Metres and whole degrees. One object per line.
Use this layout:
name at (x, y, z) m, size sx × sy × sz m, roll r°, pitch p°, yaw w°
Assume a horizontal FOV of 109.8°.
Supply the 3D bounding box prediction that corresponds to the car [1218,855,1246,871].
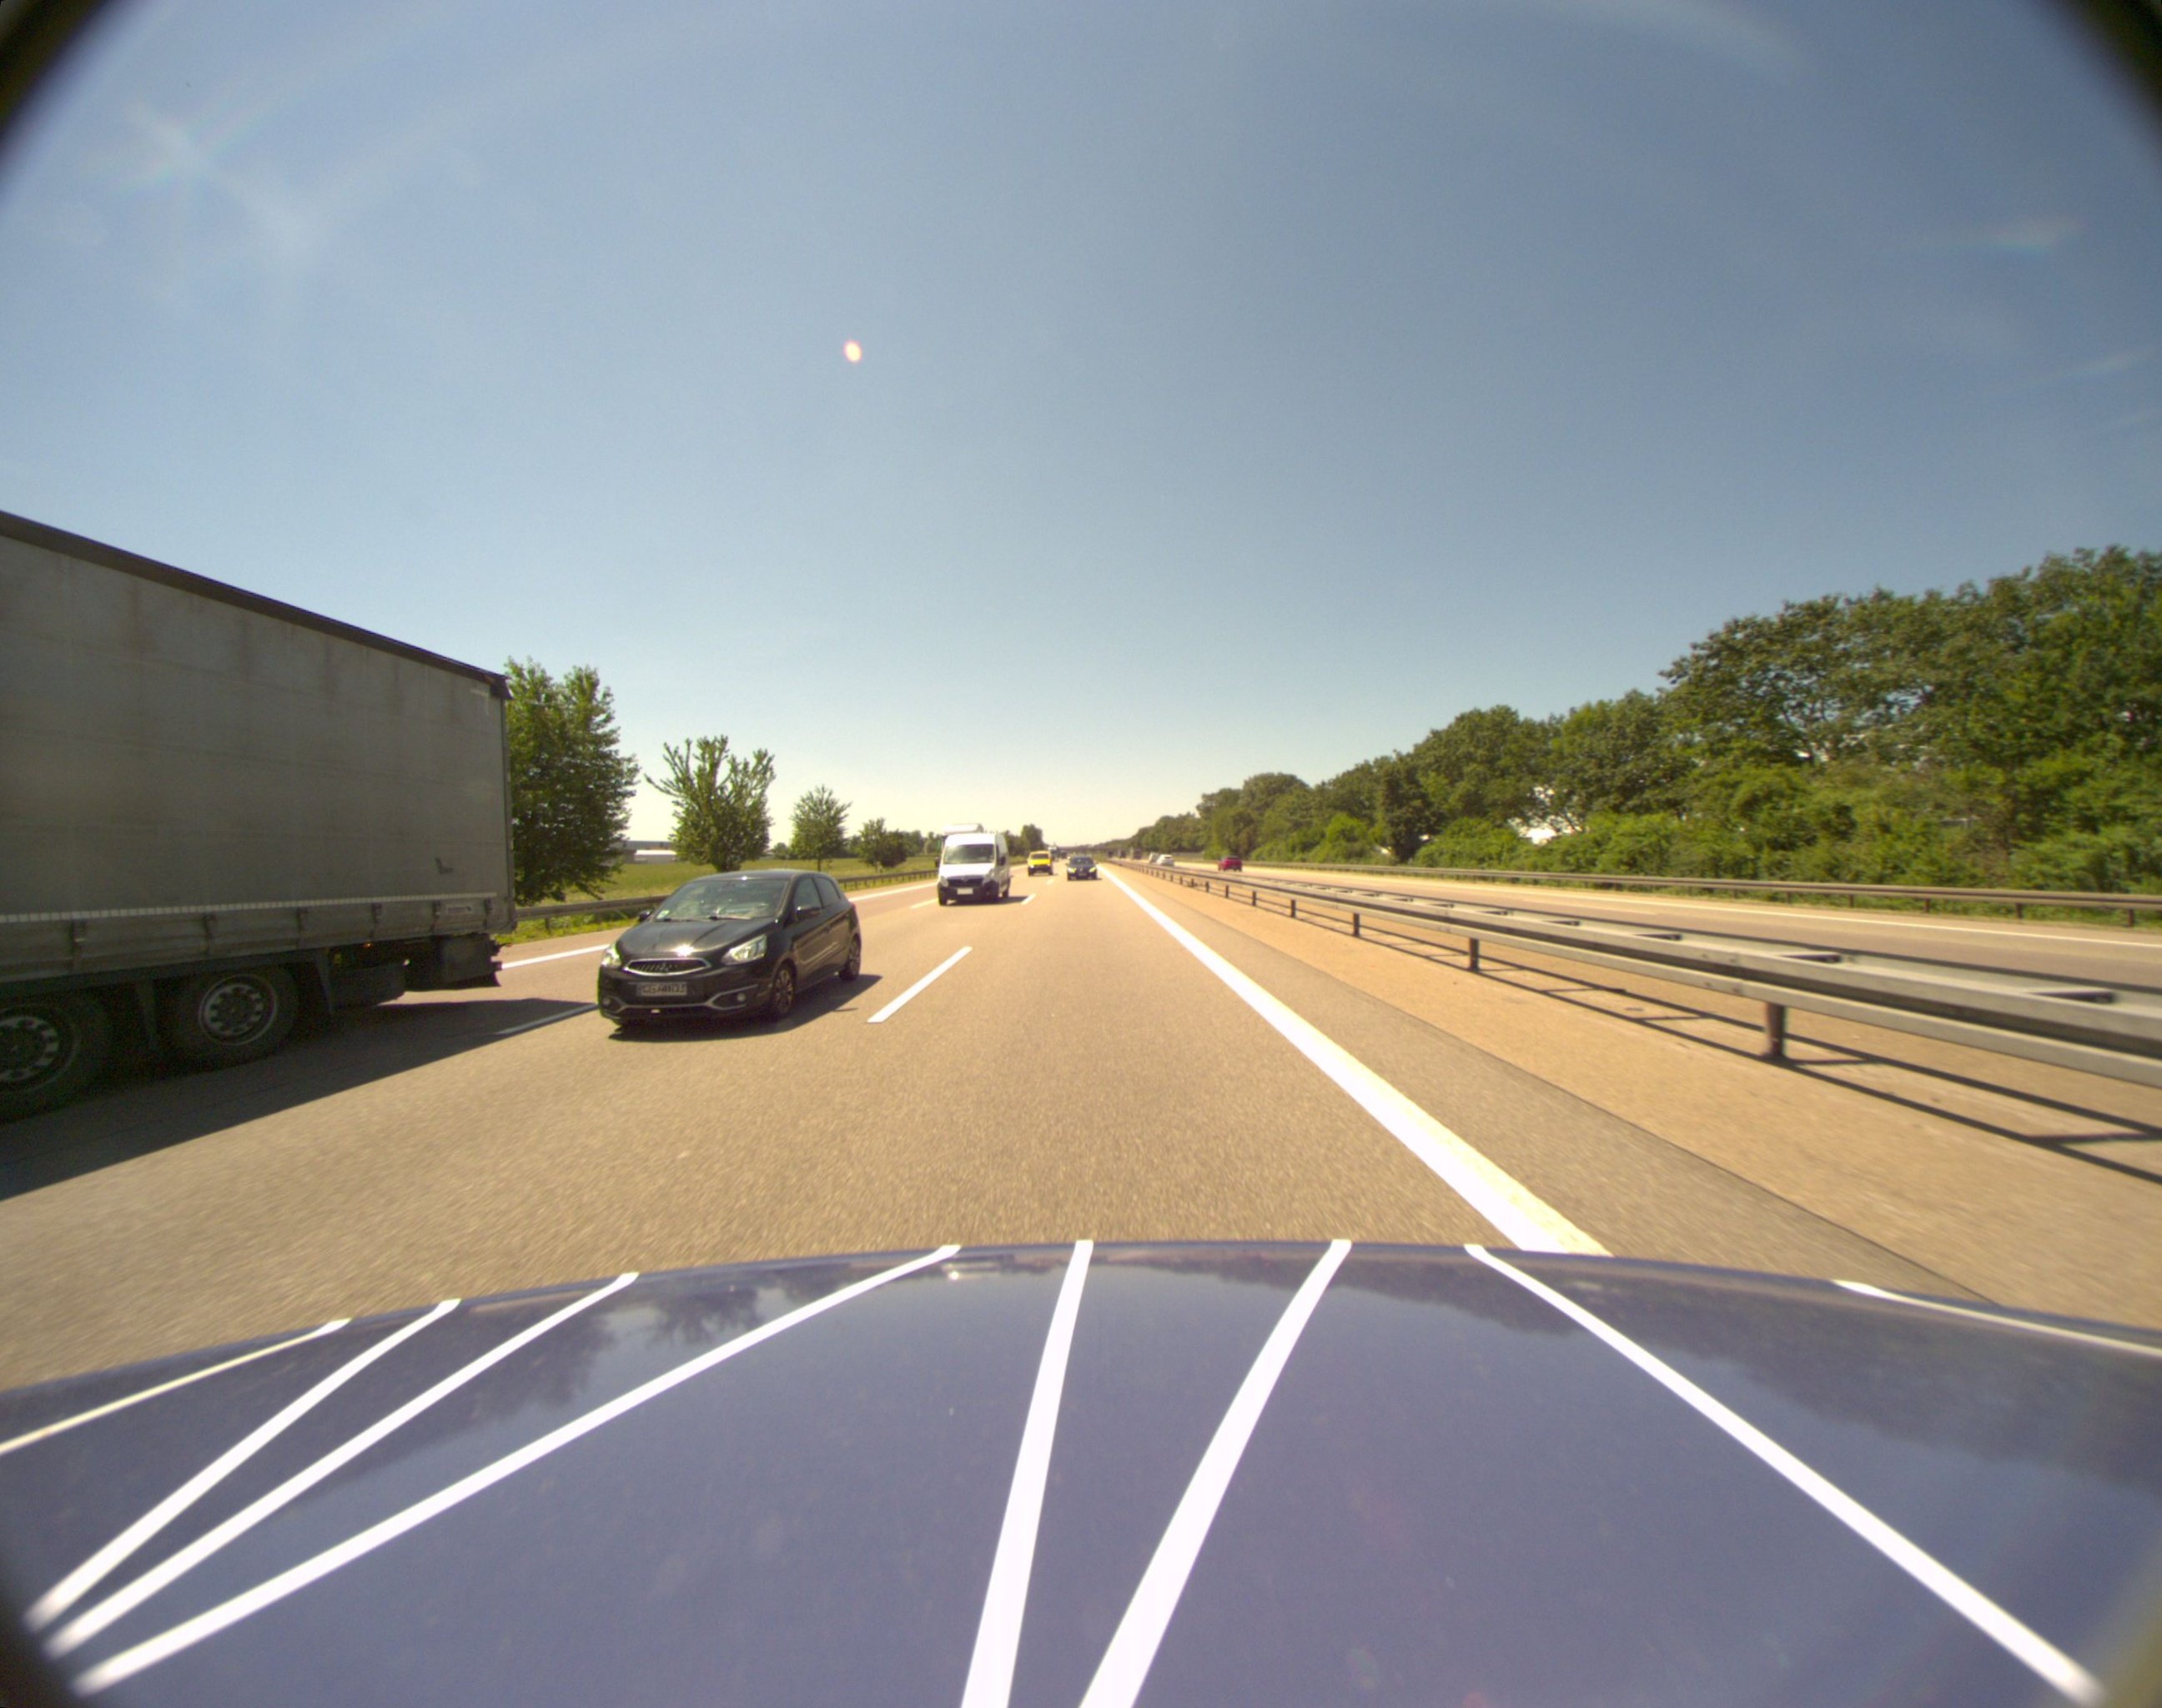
car at (14.118, 0.839, 71.332) m, size 1.777 × 1.409 × 4.110 m, roll 1°, pitch 0°, yaw 0°

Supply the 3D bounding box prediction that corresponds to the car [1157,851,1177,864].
car at (9.881, 0.335, 87.510) m, size 1.723 × 1.414 × 3.896 m, roll 1°, pitch 1°, yaw -1°

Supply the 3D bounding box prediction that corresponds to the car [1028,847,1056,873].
car at (-3.118, 0.473, 61.774) m, size 1.958 × 1.939 × 3.999 m, roll -3°, pitch 1°, yaw 0°

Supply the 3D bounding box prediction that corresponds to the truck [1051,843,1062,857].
truck at (-6.641, -1.021, 206.936) m, size 2.976 × 3.626 × 7.148 m, roll -3°, pitch 1°, yaw -2°

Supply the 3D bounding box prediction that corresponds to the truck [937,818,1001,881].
truck at (-7.601, -0.298, 52.599) m, size 2.699 × 3.943 × 7.704 m, roll -2°, pitch 0°, yaw 3°

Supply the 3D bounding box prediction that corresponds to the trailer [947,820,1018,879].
trailer at (-7.269, -0.333, 58.614) m, size 2.699 × 3.943 × 13.963 m, roll -2°, pitch 0°, yaw 3°

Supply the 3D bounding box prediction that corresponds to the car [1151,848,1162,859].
car at (14.700, -0.062, 148.465) m, size 1.793 × 2.002 × 4.379 m, roll 1°, pitch 1°, yaw 1°

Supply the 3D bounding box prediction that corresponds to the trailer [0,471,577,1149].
trailer at (-8.267, -0.225, 2.800) m, size 2.817 × 4.279 × 14.254 m, roll -2°, pitch 1°, yaw 1°

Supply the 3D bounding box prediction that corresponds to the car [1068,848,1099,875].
car at (0.222, 0.485, 50.656) m, size 1.689 × 1.646 × 3.463 m, roll -2°, pitch 1°, yaw 5°

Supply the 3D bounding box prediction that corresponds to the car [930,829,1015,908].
car at (-3.824, 0.445, 27.939) m, size 2.159 × 2.494 × 5.945 m, roll -3°, pitch 1°, yaw 0°

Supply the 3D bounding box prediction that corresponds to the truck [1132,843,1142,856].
truck at (18.159, -1.481, 247.131) m, size 2.884 × 4.020 × 6.332 m, roll 1°, pitch 1°, yaw 1°

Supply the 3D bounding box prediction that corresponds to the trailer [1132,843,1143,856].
trailer at (17.998, -1.449, 242.541) m, size 2.884 × 4.020 × 13.680 m, roll 1°, pitch 1°, yaw 1°

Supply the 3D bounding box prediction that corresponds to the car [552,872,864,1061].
car at (-3.730, 1.022, 8.330) m, size 1.692 × 1.465 × 3.432 m, roll -3°, pitch 1°, yaw -1°
